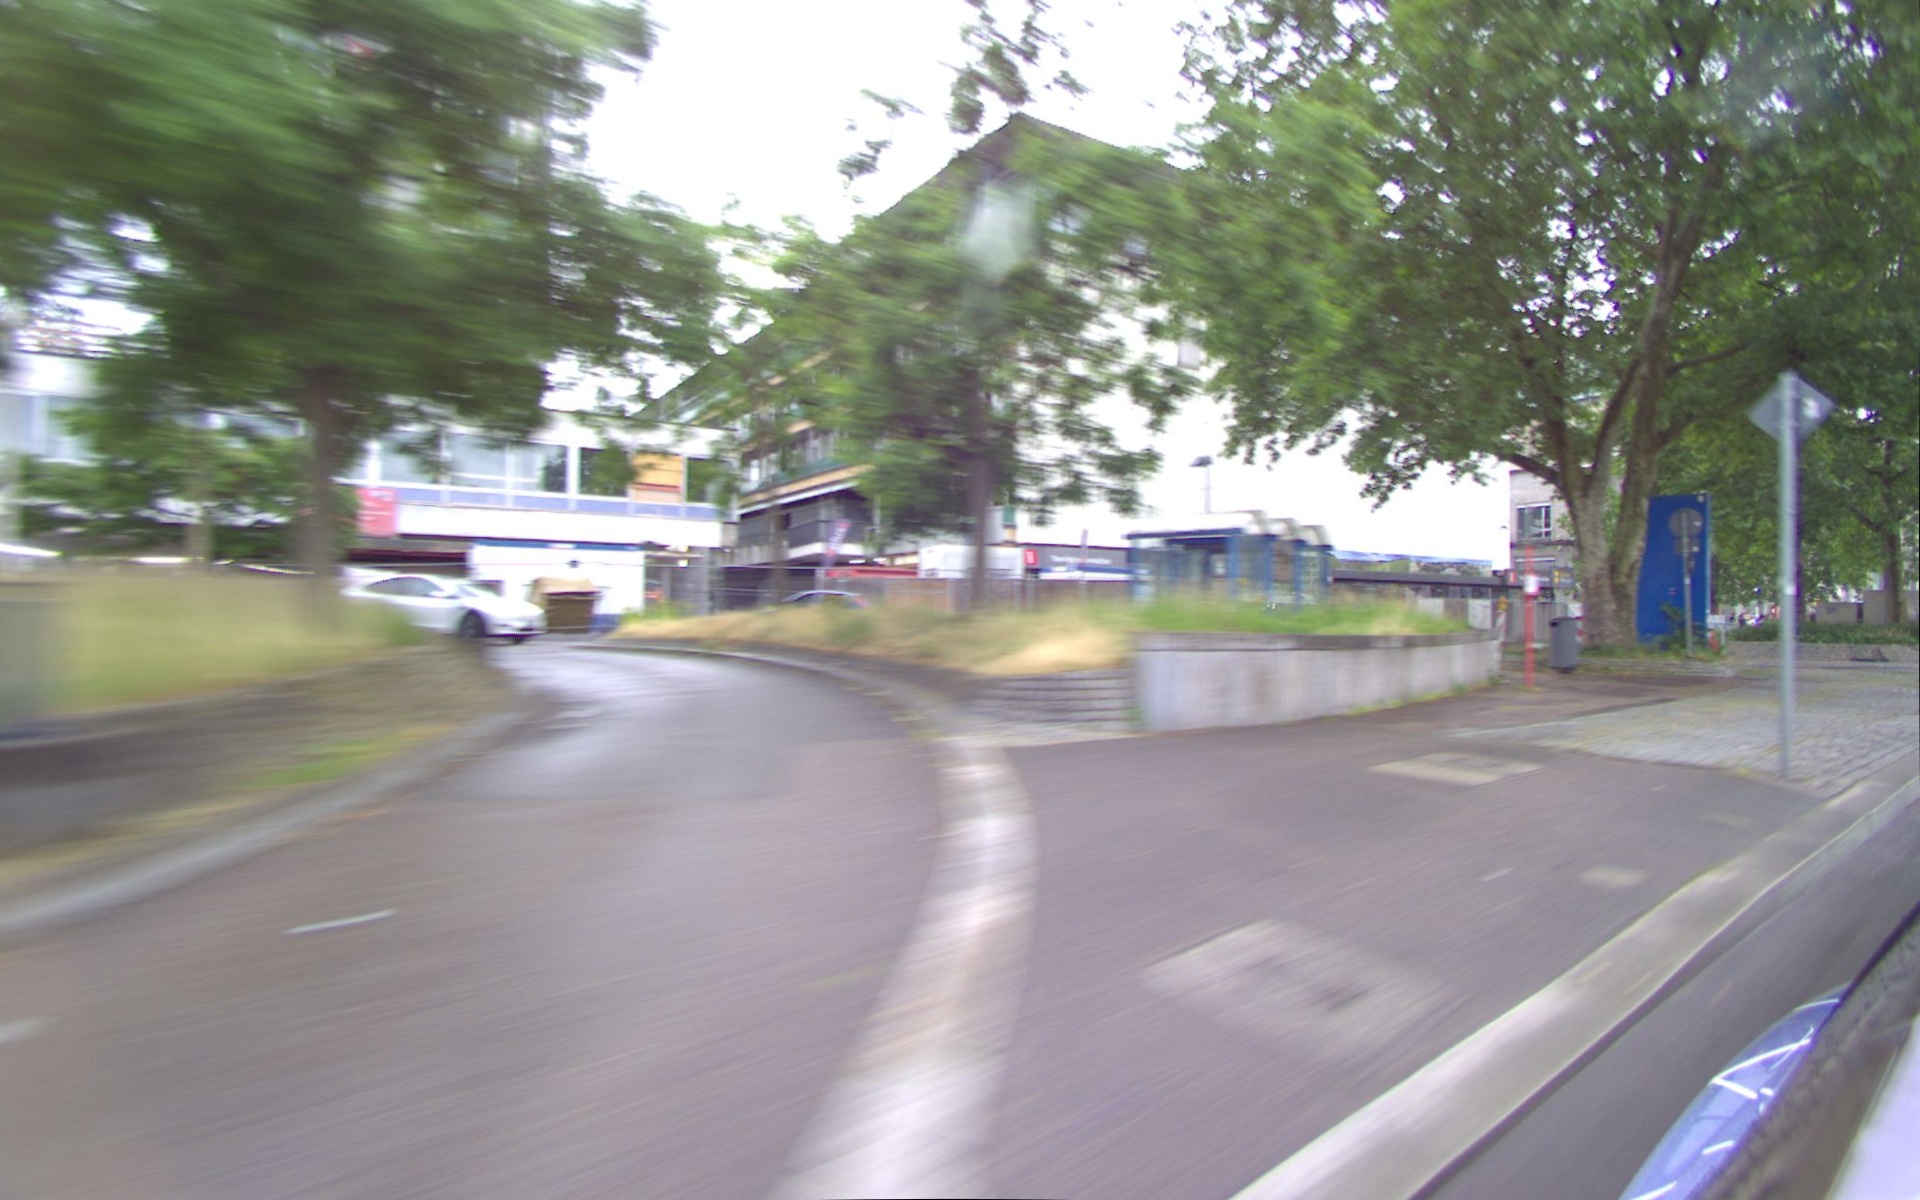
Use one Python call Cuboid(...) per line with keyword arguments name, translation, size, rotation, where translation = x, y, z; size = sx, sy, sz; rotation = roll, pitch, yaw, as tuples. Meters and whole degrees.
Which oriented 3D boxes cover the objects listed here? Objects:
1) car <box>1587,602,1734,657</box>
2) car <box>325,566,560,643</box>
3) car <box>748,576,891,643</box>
Cuboid(name="car", translation=(20.306, 0.800, 29.547), size=(1.670, 1.474, 3.996), rotation=(1, 0, 3))
Cuboid(name="car", translation=(-12.049, 0.074, 23.672), size=(4.686, 1.650, 1.993), rotation=(1, 0, 12))
Cuboid(name="car", translation=(-3.586, 0.239, 26.139), size=(3.286, 1.611, 1.790), rotation=(1, 0, 9))
